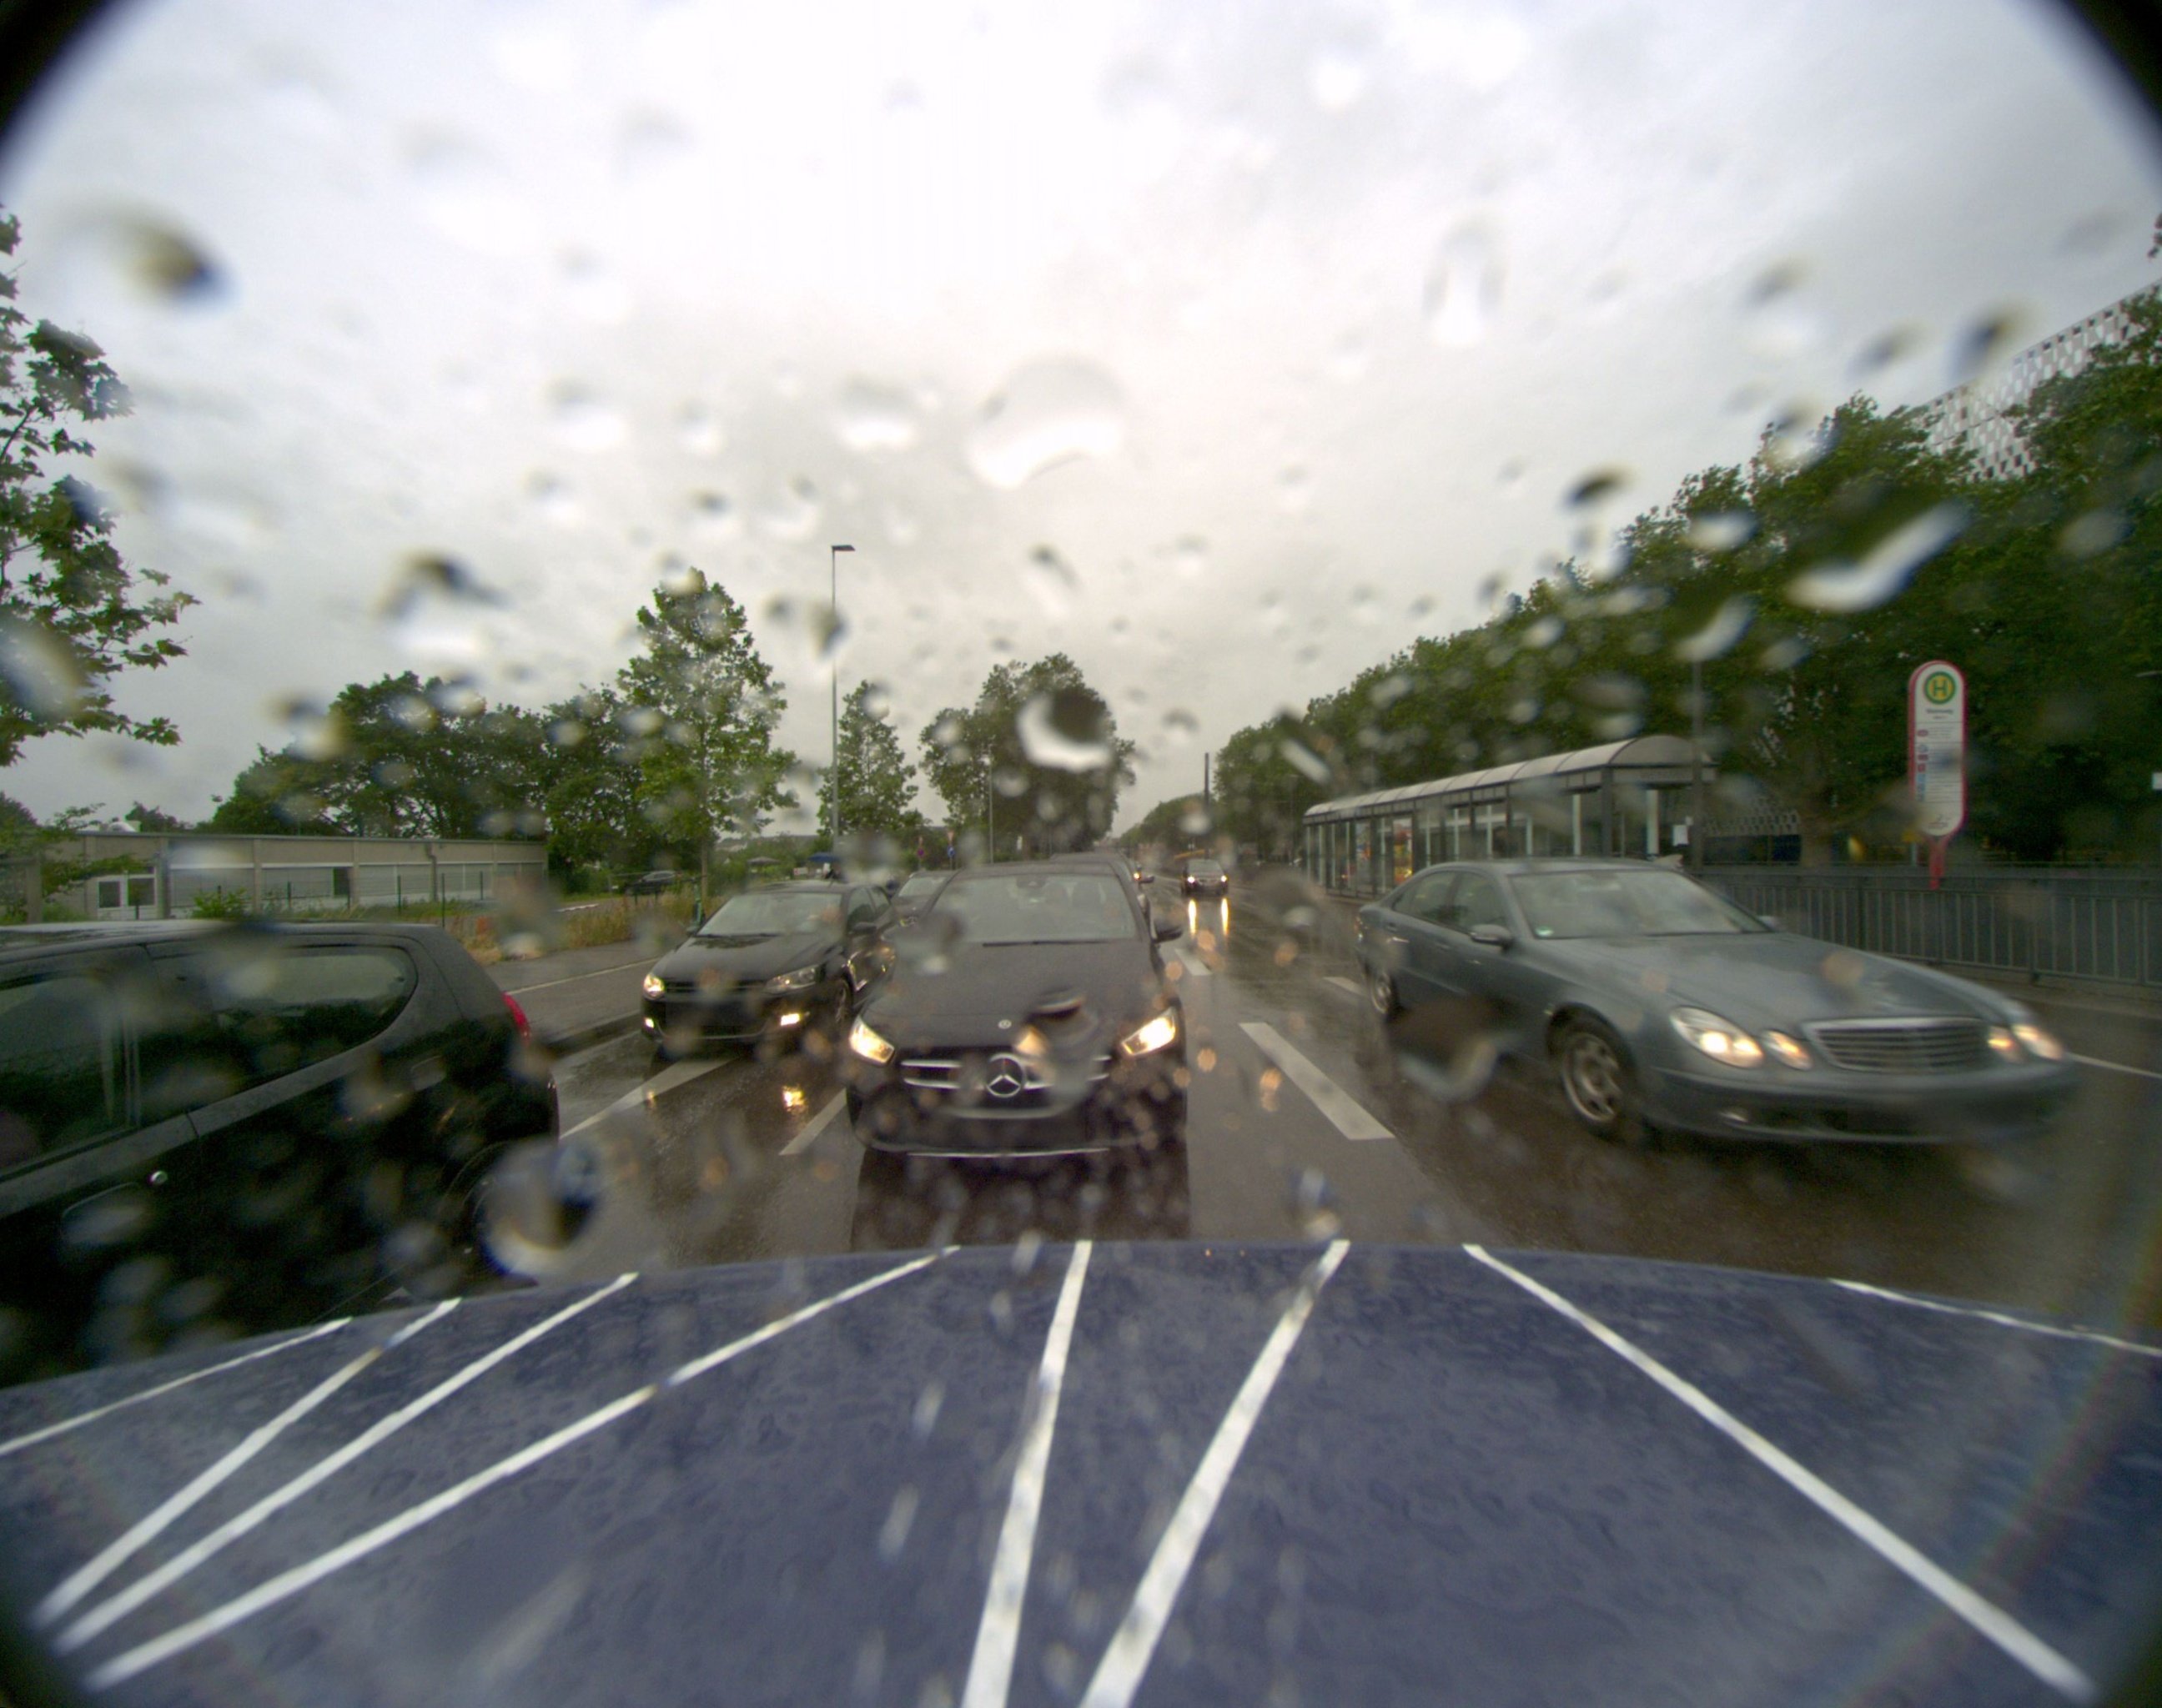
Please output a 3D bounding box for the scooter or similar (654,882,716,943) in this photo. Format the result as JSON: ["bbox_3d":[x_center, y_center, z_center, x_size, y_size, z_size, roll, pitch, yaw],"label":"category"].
[{"bbox_3d":[-8.210,1.183,15.810,0.381,1.123,1.777,0,1,-1],"label":"scooter or similar"}]

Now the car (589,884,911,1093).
[{"bbox_3d":[-2.960,1.114,7.690,1.633,1.420,3.624,-2,0,0],"label":"car"}]

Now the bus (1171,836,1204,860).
[{"bbox_3d":[16.063,-0.910,115.740,2.938,3.310,15.061,-2,1,0],"label":"bus"}]

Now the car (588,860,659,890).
[{"bbox_3d":[-33.959,1.516,56.523,3.996,2.002,2.000,-2,1,2],"label":"car"}]

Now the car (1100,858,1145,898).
[{"bbox_3d":[1.848,1.041,35.014,1.794,1.597,3.999,-2,1,0],"label":"car"}]

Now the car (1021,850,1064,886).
[{"bbox_3d":[-1.694,0.596,34.579,1.703,1.461,4.121,-2,1,0],"label":"car"}]

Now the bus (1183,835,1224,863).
[{"bbox_3d":[15.964,-0.710,100.546,2.938,3.310,15.061,-2,1,0],"label":"bus"}]

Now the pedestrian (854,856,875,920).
[{"bbox_3d":[-5.678,0.887,19.943,0.401,1.652,0.441,1,1,0],"label":"pedestrian"}]

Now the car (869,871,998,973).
[{"bbox_3d":[-2.742,1.211,14.997,1.698,1.565,3.813,-2,1,1],"label":"car"}]

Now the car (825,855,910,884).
[{"bbox_3d":[-13.468,0.960,48.133,4.759,1.640,1.999,-2,1,-2],"label":"car"}]

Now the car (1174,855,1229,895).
[{"bbox_3d":[5.135,0.850,32.928,1.775,1.492,4.597,-2,1,2],"label":"car"}]

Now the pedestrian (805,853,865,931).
[{"bbox_3d":[-5.702,0.858,17.702,1.082,1.746,0.969,0,1,0],"label":"pedestrian"}]

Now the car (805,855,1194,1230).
[{"bbox_3d":[-0.336,0.859,5.499,1.690,1.578,4.163,-2,1,1],"label":"car"}]

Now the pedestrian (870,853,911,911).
[{"bbox_3d":[-5.799,0.838,23.163,1.025,1.698,0.891,1,1,0],"label":"pedestrian"}]

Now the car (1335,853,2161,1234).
[{"bbox_3d":[3.421,0.730,5.256,1.767,1.390,4.644,-2,0,0],"label":"car"}]

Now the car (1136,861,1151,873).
[{"bbox_3d":[8.696,1.815,106.113,1.794,1.597,3.999,-2,1,0],"label":"car"}]

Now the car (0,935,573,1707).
[{"bbox_3d":[-3.010,1.080,1.430,1.633,1.420,3.624,-2,0,0],"label":"car"}]

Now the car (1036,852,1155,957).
[{"bbox_3d":[0.203,0.723,12.558,1.633,1.420,3.624,-2,0,0],"label":"car"}]
